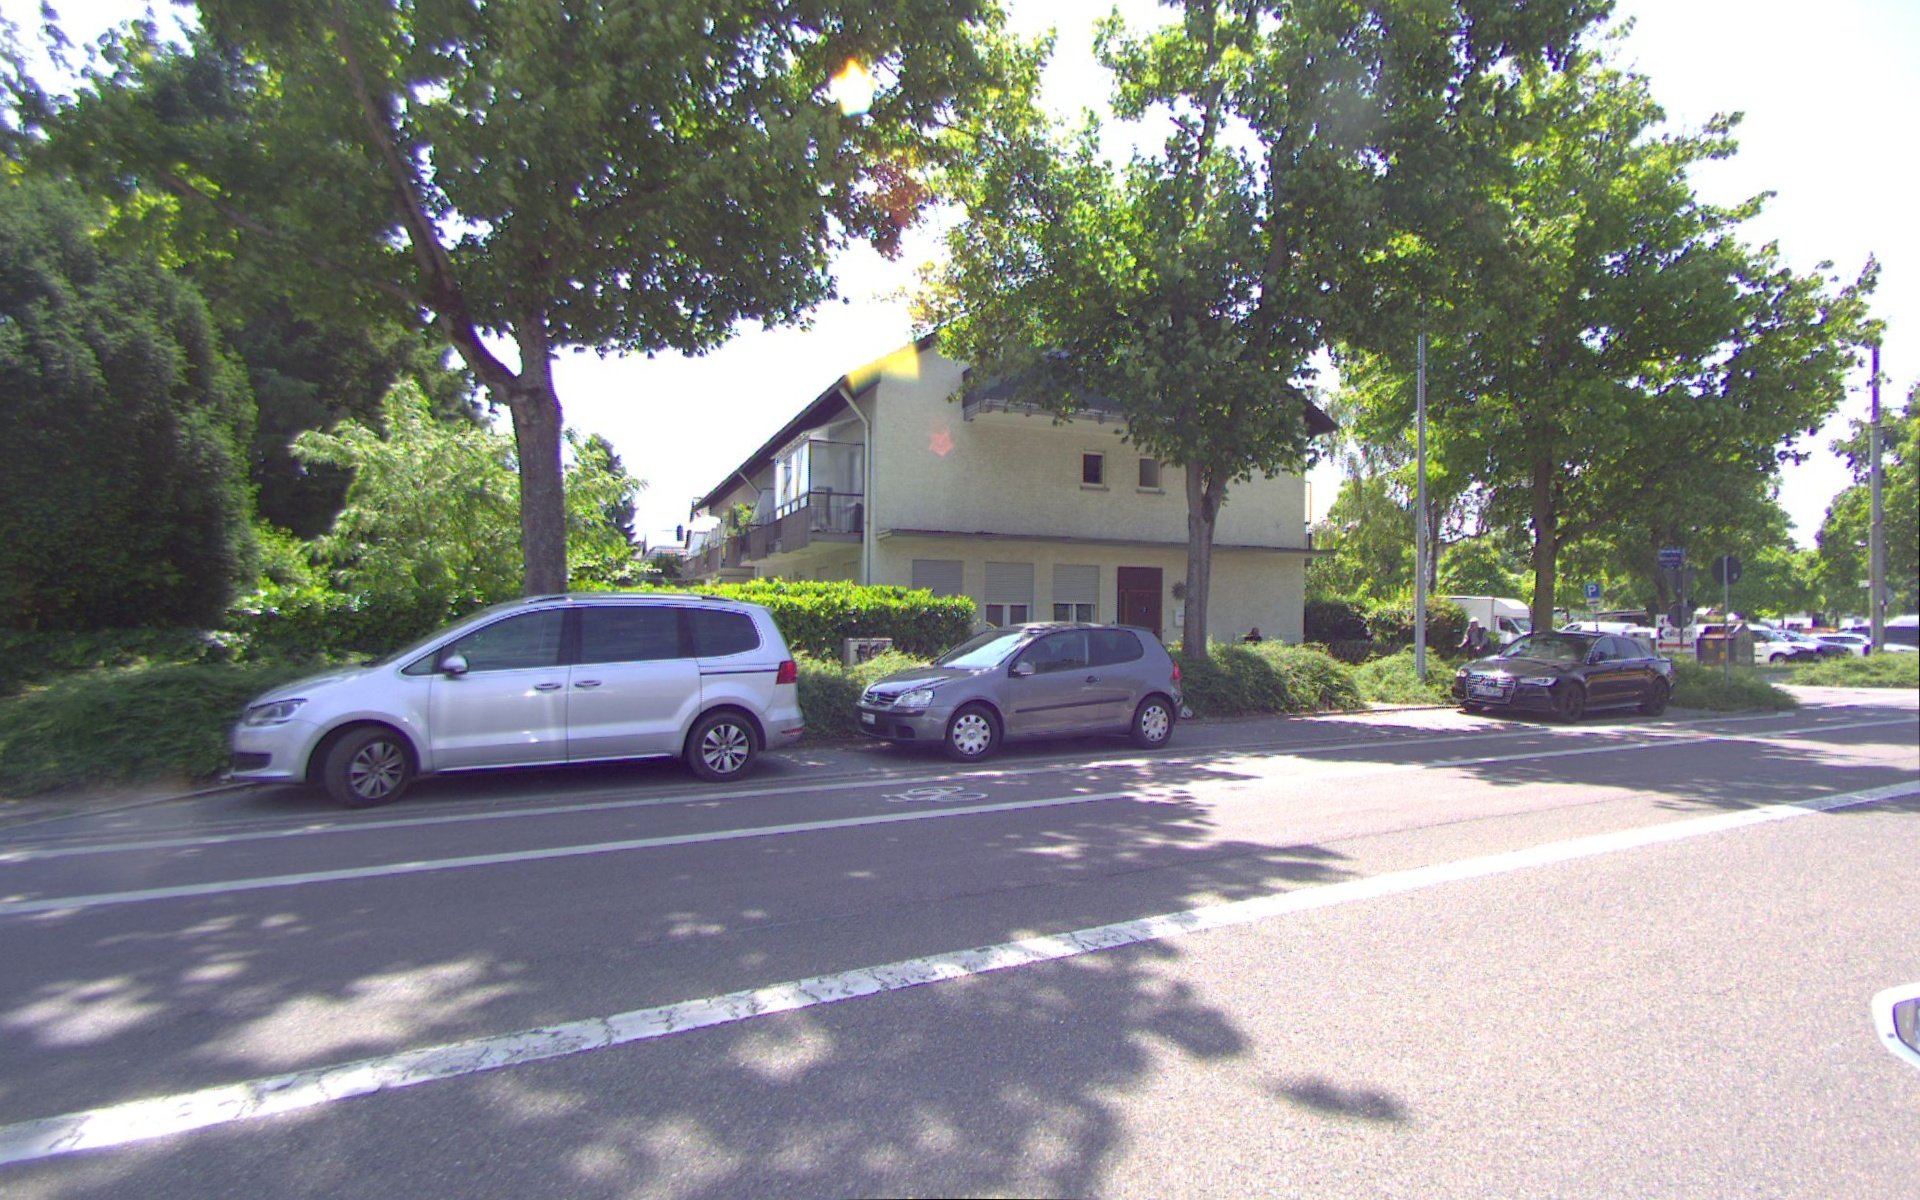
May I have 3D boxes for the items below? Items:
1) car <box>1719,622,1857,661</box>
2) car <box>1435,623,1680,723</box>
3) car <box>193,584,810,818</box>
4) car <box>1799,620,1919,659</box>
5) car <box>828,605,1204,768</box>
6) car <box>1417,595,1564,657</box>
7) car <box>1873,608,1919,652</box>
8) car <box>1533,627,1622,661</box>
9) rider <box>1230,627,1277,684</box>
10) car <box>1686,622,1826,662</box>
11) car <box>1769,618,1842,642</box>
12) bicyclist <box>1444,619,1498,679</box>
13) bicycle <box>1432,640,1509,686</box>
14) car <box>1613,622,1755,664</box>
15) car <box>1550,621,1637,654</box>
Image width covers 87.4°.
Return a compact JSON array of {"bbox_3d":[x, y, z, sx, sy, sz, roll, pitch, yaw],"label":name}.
[{"bbox_3d":[36.358,1.791,44.229,1.886,1.606,4.333,1,-1,-23],"label":"car"},{"bbox_3d":[10.577,1.210,17.708,4.397,1.496,1.809,1,1,-31],"label":"car"},{"bbox_3d":[-3.939,0.754,9.243,4.725,1.687,1.863,1,0,-31],"label":"car"},{"bbox_3d":[43.179,1.874,48.293,1.975,1.769,3.968,1,-1,-30],"label":"car"},{"bbox_3d":[0.706,0.904,11.887,4.132,1.585,1.809,1,1,-31],"label":"car"},{"bbox_3d":[28.771,1.351,54.800,2.337,3.005,6.816,2,1,-30],"label":"car"},{"bbox_3d":[52.217,1.674,53.299,2.349,2.274,5.076,2,1,-28],"label":"car"},{"bbox_3d":[35.542,2.540,57.929,1.799,1.675,3.957,2,1,-37],"label":"car"},{"bbox_3d":[7.384,1.379,25.269,0.800,1.392,0.824,1,-1,-22],"label":"rider"},{"bbox_3d":[33.921,1.743,42.930,1.886,1.606,4.332,1,-1,-24],"label":"car"},{"bbox_3d":[66.341,2.352,78.876,1.795,1.638,4.000,2,1,-30],"label":"car"},{"bbox_3d":[12.313,1.171,24.214,0.817,1.392,0.806,2,1,-27],"label":"bicyclist"},{"bbox_3d":[12.328,1.523,24.259,1.805,1.043,0.698,2,1,-27],"label":"bicycle"},{"bbox_3d":[29.383,1.722,40.902,1.891,1.606,4.321,1,-1,-31],"label":"car"},{"bbox_3d":[37.419,2.178,59.422,1.799,1.675,3.957,2,1,-37],"label":"car"}]
